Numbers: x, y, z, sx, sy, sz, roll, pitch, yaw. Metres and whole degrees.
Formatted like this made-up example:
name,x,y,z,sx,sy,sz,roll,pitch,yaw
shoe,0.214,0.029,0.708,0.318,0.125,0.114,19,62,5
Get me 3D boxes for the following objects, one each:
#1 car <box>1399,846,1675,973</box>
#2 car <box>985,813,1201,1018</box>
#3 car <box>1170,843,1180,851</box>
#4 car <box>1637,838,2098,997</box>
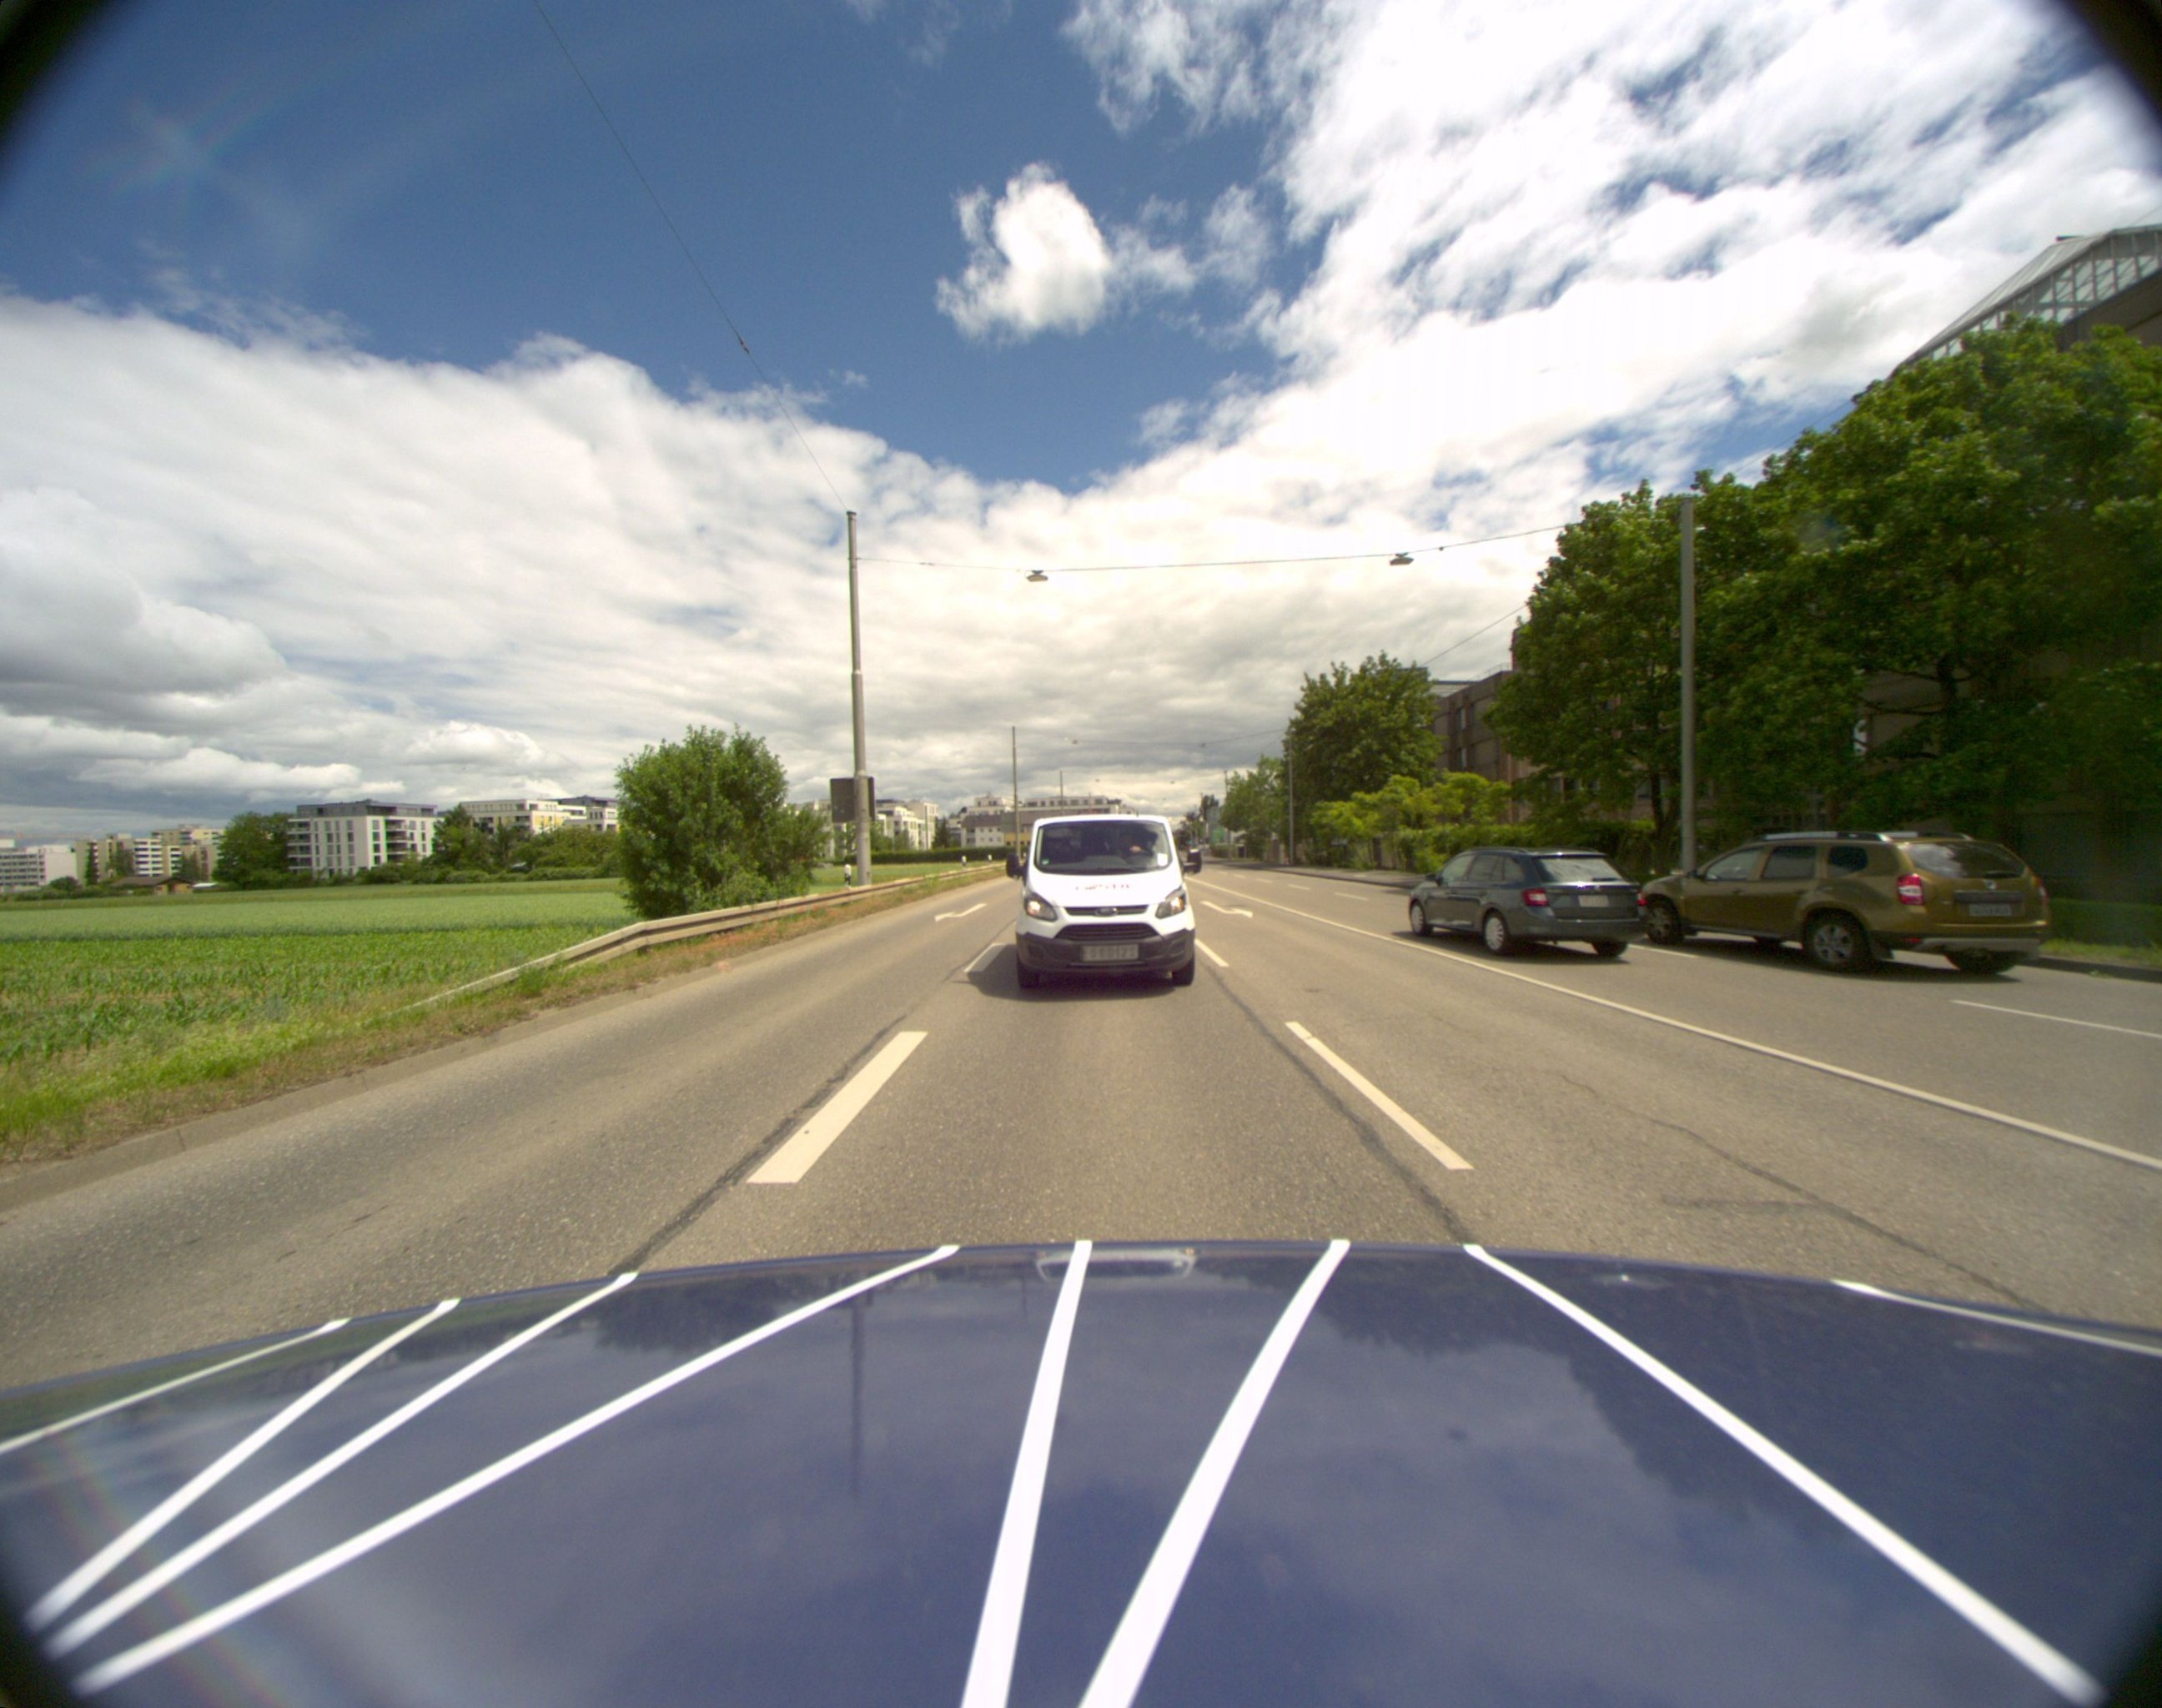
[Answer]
name,x,y,z,sx,sy,sz,roll,pitch,yaw
car,6.316,0.684,11.129,1.673,1.515,4.008,1,0,1
car,0.322,0.545,10.086,1.998,1.907,5.883,-1,1,4
car,19.815,-1.531,160.238,1.872,1.606,4.571,-1,1,3
car,9.520,0.624,9.791,1.755,1.621,3.999,0,1,0
